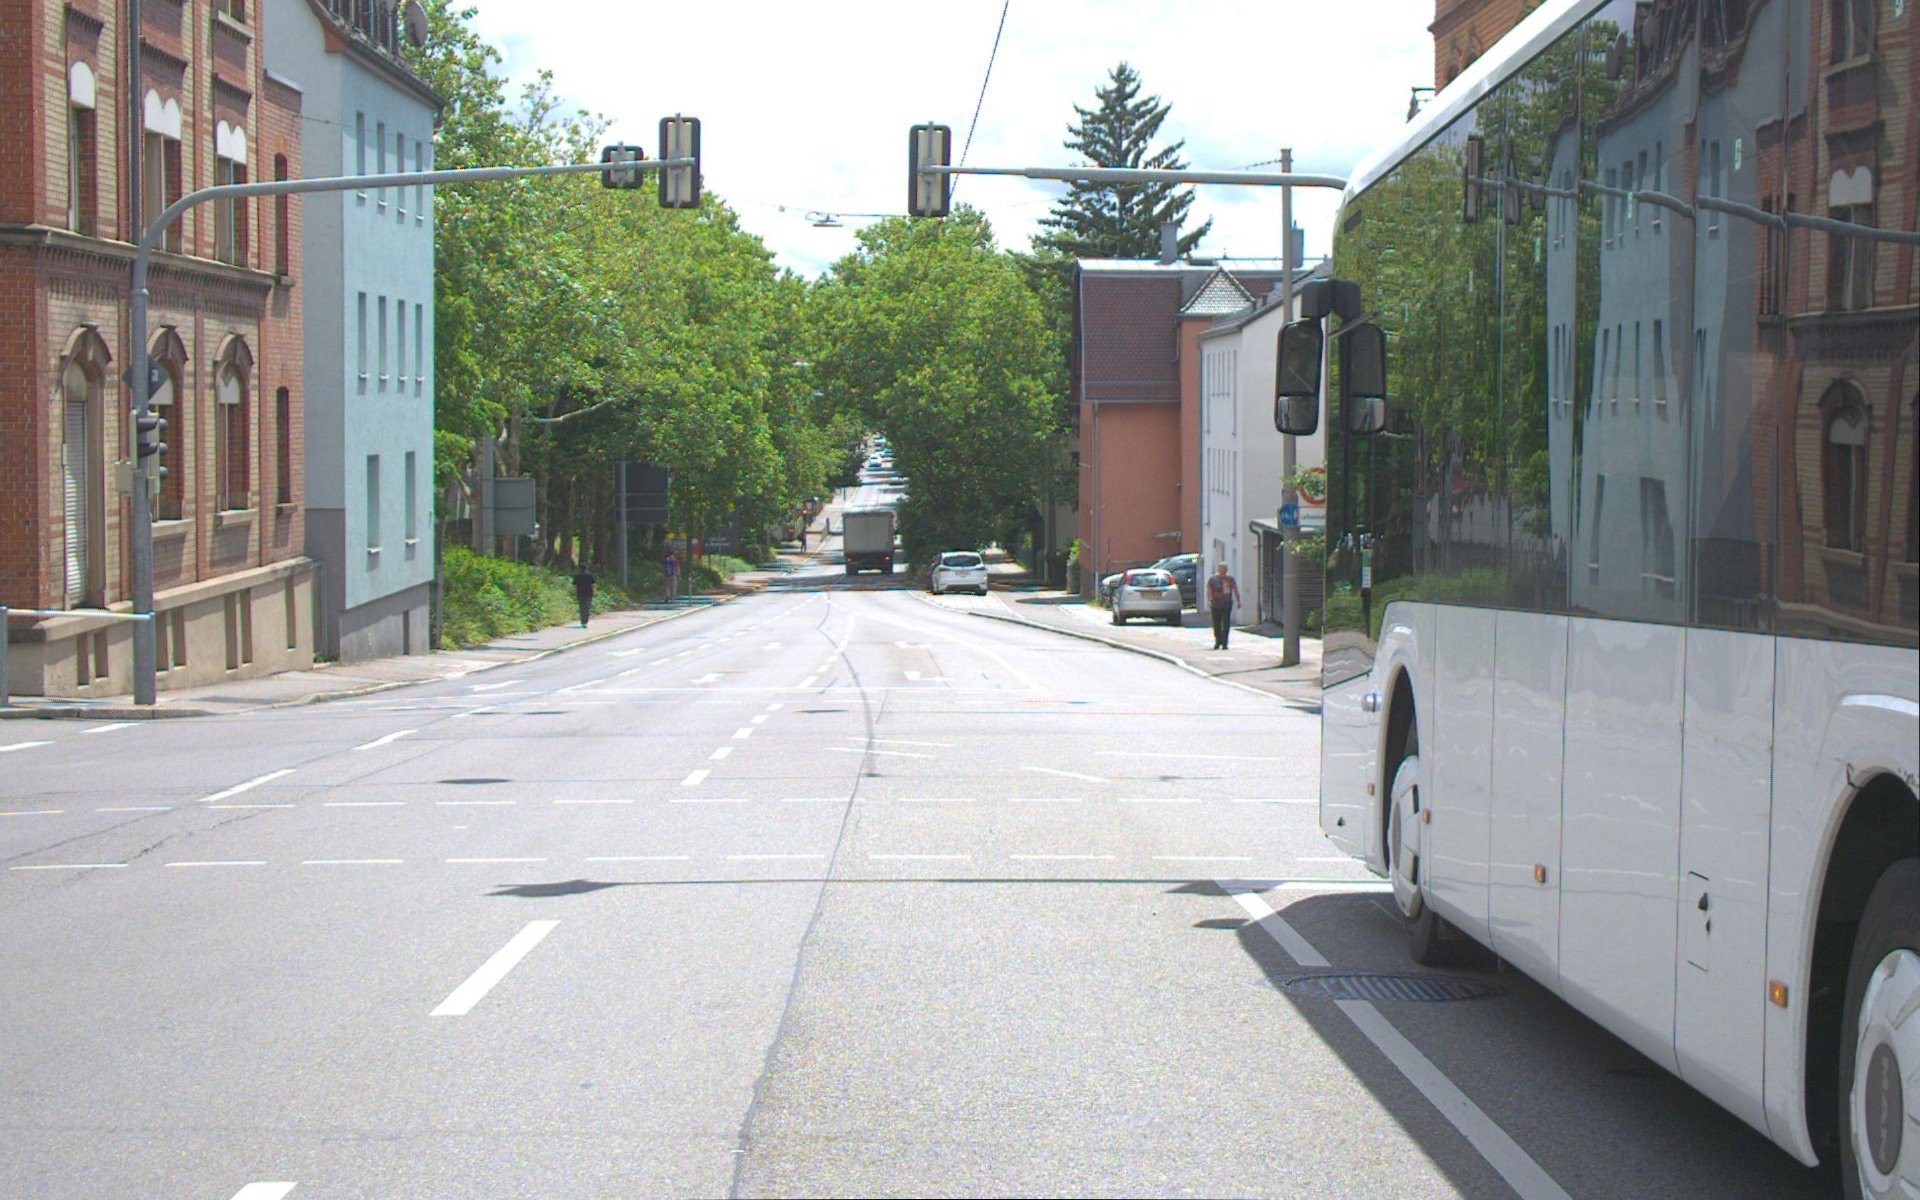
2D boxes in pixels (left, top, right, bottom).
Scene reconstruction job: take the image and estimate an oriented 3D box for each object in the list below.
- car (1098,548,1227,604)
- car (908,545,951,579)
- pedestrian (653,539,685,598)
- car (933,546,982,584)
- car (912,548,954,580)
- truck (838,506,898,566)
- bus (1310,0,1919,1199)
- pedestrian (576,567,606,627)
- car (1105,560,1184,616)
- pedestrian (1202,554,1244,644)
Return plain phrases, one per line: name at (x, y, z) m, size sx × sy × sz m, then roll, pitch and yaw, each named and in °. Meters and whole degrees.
car at (6.656, -0.799, 113.166) m, size 3.986 × 1.751 × 2.000 m, roll -1°, pitch 1°, yaw -5°
car at (-1.287, -1.612, 146.460) m, size 1.794 × 1.405 × 4.419 m, roll 1°, pitch 1°, yaw 0°
pedestrian at (-10.021, -1.102, 118.525) m, size 0.995 × 2.007 × 1.189 m, roll -1°, pitch 1°, yaw -1°
car at (-0.103, -1.328, 129.590) m, size 1.794 × 1.405 × 4.000 m, roll 1°, pitch 1°, yaw -1°
car at (-1.190, -1.611, 153.929) m, size 1.794 × 1.405 × 4.419 m, roll 1°, pitch 1°, yaw 0°
truck at (-4.935, -3.425, 183.230) m, size 2.926 × 3.070 × 7.886 m, roll -1°, pitch 1°, yaw -3°
bus at (2.978, -0.230, 9.239) m, size 2.672 × 3.145 × 12.462 m, roll 0°, pitch 1°, yaw -1°
pedestrian at (-9.533, -0.083, 88.889) m, size 0.729 × 1.560 × 0.561 m, roll 0°, pitch 1°, yaw -1°
car at (4.980, -0.347, 93.068) m, size 1.794 × 1.405 × 4.001 m, roll -1°, pitch 1°, yaw -2°
pedestrian at (5.183, -0.028, 67.797) m, size 0.738 × 1.744 × 0.619 m, roll -1°, pitch 1°, yaw -1°
